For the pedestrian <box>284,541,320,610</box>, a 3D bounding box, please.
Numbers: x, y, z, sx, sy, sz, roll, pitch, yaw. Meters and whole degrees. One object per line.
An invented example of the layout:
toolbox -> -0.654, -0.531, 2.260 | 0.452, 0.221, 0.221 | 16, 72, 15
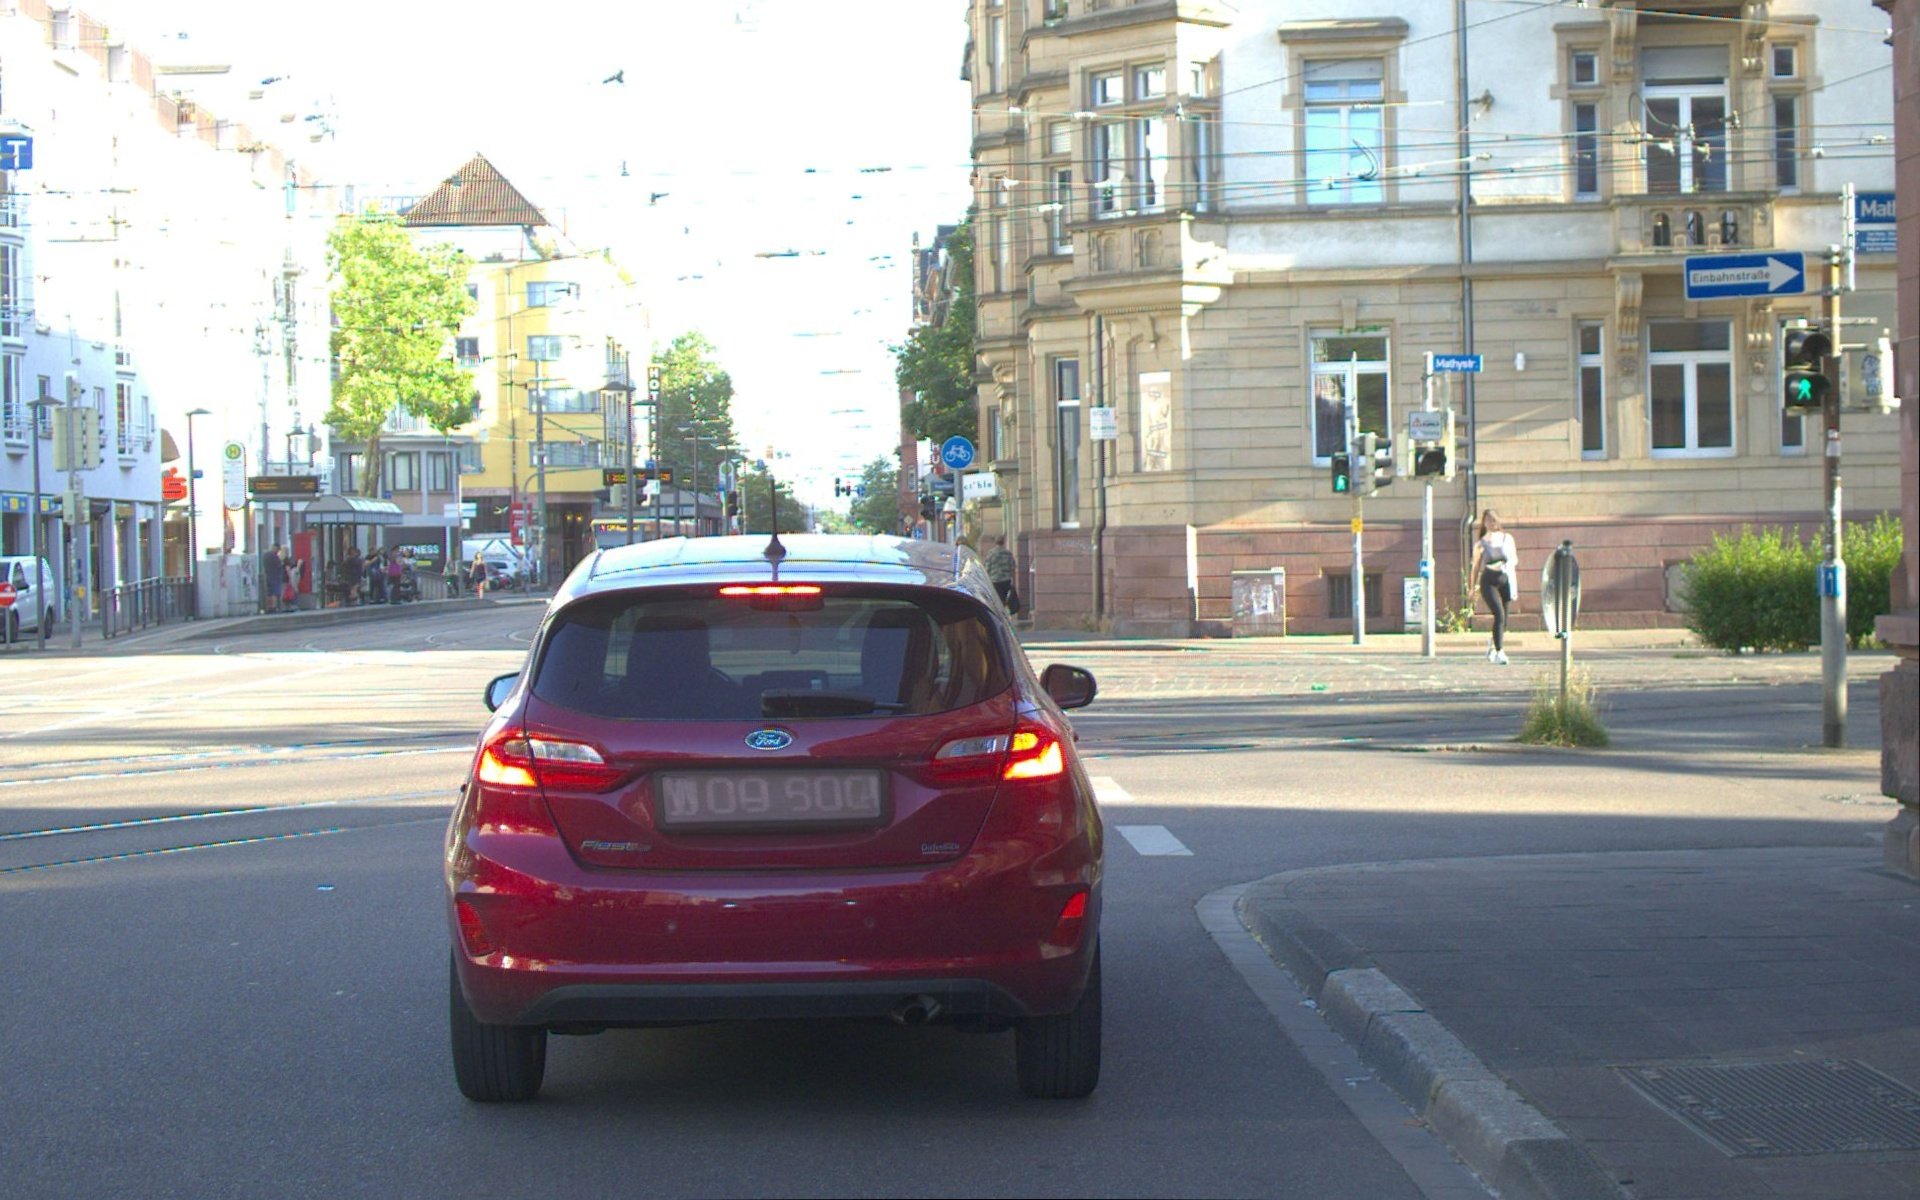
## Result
pedestrian -> -16.264, -0.608, 84.947 | 0.695, 1.685, 0.672 | -2, 1, -25

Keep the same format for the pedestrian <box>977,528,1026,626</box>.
pedestrian -> 0.794, -0.454, 66.160 | 0.801, 1.817, 0.797 | -3, 2, -2

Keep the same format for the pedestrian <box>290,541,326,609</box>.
pedestrian -> -16.446, -0.624, 86.693 | 0.695, 1.685, 0.672 | -2, 1, -25

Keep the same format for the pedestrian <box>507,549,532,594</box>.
pedestrian -> -18.629, -1.205, 145.435 | 0.878, 1.898, 0.935 | -2, 1, -17

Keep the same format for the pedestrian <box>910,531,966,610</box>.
pedestrian -> -0.383, -0.515, 59.966 | 0.794, 1.327, 0.720 | -3, 0, -11

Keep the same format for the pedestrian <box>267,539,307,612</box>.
pedestrian -> -16.192, -0.588, 82.709 | 0.765, 1.727, 0.519 | -1, 1, 40

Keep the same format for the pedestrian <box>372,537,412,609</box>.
pedestrian -> -15.339, -0.731, 92.845 | 0.931, 1.898, 0.881 | -1, 1, -4

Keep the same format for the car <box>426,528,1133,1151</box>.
car -> -0.438, 0.548, 10.071 | 1.692, 1.490, 3.580 | 0, 1, 0

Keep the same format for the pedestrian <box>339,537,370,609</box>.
pedestrian -> -16.095, -0.720, 91.422 | 0.695, 1.898, 0.672 | -1, 0, -4

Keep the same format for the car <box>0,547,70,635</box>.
car -> -21.133, -0.210, 75.275 | 1.993, 1.831, 5.347 | -2, 1, -2

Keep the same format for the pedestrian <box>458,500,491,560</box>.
pedestrian -> -15.779, -2.278, 111.647 | 0.878, 1.898, 0.935 | -2, 1, -17

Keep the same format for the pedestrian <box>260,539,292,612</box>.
pedestrian -> -16.047, -0.569, 80.655 | 0.599, 1.686, 0.613 | -1, 0, -1

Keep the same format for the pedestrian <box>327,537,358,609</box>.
pedestrian -> -16.295, -0.714, 90.720 | 0.695, 1.898, 0.672 | -1, 0, -4

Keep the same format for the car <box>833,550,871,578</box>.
car -> -5.821, -1.931, 185.634 | 1.993, 1.444, 4.000 | -1, 1, -1

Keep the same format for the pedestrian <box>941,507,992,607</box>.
pedestrian -> 0.118, -0.755, 60.497 | 0.794, 1.715, 0.719 | -3, 0, 1

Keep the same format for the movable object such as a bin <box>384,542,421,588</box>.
movable object such as a bin -> -16.073, -1.016, 99.095 | 0.937, 1.282, 0.935 | -1, 1, -3

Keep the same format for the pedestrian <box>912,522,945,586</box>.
pedestrian -> -0.847, -1.231, 90.864 | 0.762, 1.639, 0.832 | -3, 2, -2

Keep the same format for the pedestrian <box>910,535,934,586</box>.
pedestrian -> -1.393, -1.439, 125.140 | 0.713, 1.768, 0.773 | -4, 2, -4

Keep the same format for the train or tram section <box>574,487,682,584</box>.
train or tram section -> -12.845, -2.505, 134.029 | 2.885, 3.478, 14.169 | -2, 1, -1

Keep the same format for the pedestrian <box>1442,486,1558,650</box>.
pedestrian -> 6.085, -0.369, 38.788 | 1.023, 1.800, 1.083 | -2, 1, -5
